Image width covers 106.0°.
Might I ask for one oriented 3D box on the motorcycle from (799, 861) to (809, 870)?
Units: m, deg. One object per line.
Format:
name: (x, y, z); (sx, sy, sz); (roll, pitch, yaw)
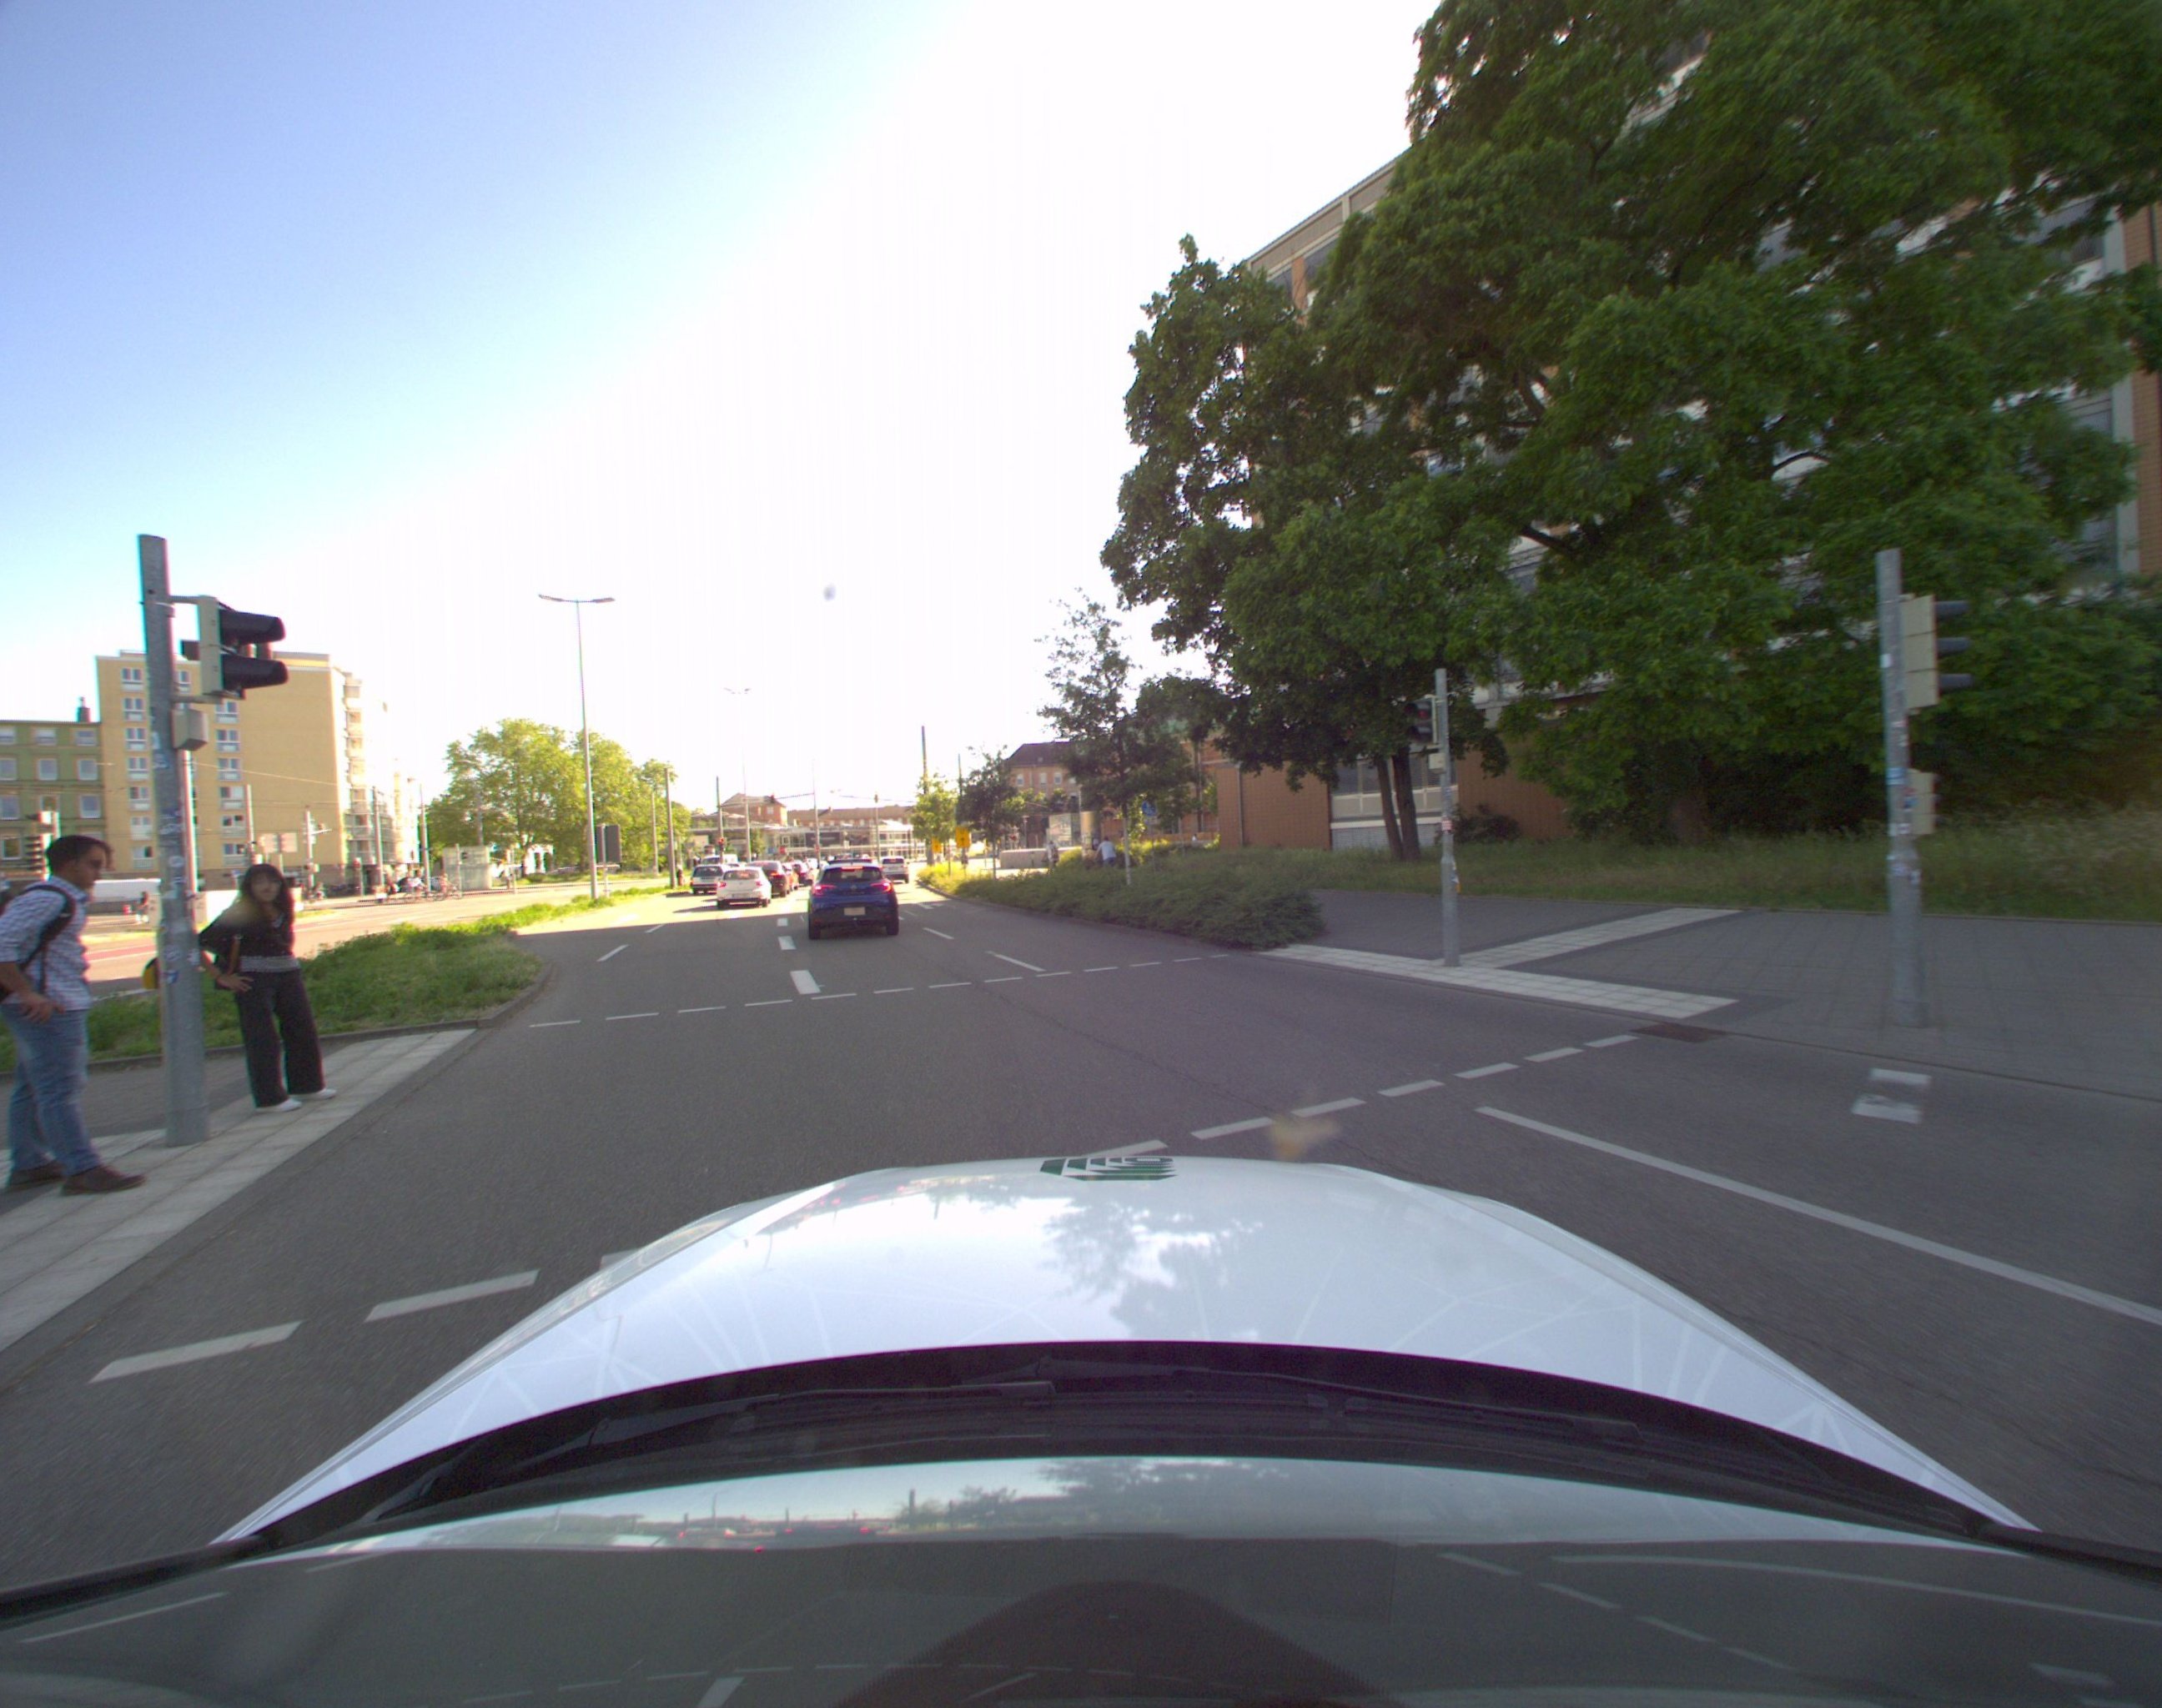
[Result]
motorcycle: (-36.175, 1.444, 106.427); (0.560, 1.094, 1.836); (-3, 0, 1)

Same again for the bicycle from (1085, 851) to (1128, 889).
bicycle: (0.807, 0.497, 26.468); (0.719, 1.165, 1.857); (-3, 1, -20)

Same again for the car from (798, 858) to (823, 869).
car: (-37.705, 1.340, 113.779); (1.717, 1.442, 4.190); (-3, 0, 5)

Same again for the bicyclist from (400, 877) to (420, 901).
bicyclist: (-42.932, 2.221, 52.116); (0.776, 1.444, 0.640); (-2, 0, -16)

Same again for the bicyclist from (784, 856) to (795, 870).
bicyclist: (-35.773, 1.081, 99.800); (1.070, 1.584, 0.938); (-3, 3, -31)

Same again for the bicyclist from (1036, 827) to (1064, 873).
bicyclist: (-1.229, -0.147, 31.951); (0.722, 1.762, 0.970); (-3, 1, -22)

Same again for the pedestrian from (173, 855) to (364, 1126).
pedestrian: (-5.375, 0.836, 5.402); (0.673, 1.612, 0.724); (-3, 0, 33)

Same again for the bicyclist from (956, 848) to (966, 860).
bicyclist: (-17.084, -0.040, 116.151); (1.070, 1.584, 0.938); (-3, 3, -31)

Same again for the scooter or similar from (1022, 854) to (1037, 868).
scooter or similar: (-3.771, 0.521, 59.874); (0.471, 1.012, 1.236); (-3, 3, -35)

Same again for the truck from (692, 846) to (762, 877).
truck: (-29.716, 0.568, 68.636); (2.203, 2.313, 6.894); (-3, 0, 5)

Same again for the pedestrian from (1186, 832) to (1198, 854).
pedestrian: (8.752, -0.852, 64.175); (0.779, 1.752, 0.542); (0, 3, 35)

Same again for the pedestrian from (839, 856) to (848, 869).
pedestrian: (-31.064, 1.096, 106.477); (0.695, 1.610, 0.856); (-1, 2, 19)

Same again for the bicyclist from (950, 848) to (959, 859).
bicyclist: (-17.283, -0.023, 111.137); (0.965, 1.449, 0.962); (-3, 0, -19)

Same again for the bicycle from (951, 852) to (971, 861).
bicycle: (-17.059, 0.353, 116.178); (2.664, 1.188, 0.938); (-3, 3, -32)

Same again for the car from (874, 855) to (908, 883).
car: (-11.517, 0.875, 49.560); (1.878, 1.617, 3.611); (-1, 0, -11)

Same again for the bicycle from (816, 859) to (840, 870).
bicycle: (-31.423, 1.293, 101.015); (2.668, 1.188, 0.936); (-3, 3, -39)

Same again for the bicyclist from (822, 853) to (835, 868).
bicyclist: (-31.316, 0.795, 101.108); (1.193, 1.776, 0.936); (-3, 3, -39)

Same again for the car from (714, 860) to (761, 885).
car: (-20.632, 1.089, 49.079); (1.725, 1.442, 3.897); (-1, 0, -9)

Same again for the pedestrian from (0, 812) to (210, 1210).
pedestrian: (-5.214, 0.728, 4.074); (0.746, 1.832, 1.102); (-2, 0, 40)

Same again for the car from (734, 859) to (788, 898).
car: (-14.266, 1.056, 36.486); (1.989, 1.624, 4.351); (0, 0, -18)

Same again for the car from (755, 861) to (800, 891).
car: (-15.714, 1.122, 42.307); (1.673, 1.442, 3.705); (-1, 0, -13)

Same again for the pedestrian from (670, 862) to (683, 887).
pedestrian: (-26.367, 1.325, 53.109); (0.576, 1.610, 0.562); (-3, 3, -42)

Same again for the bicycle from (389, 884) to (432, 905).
bicycle: (-42.900, 2.582, 52.131); (1.955, 1.165, 0.639); (-2, 0, -16)

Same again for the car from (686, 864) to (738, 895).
car: (-18.447, 1.243, 40.848); (1.728, 1.442, 3.779); (-1, 0, -15)

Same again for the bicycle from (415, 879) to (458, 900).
bicycle: (-40.838, 2.250, 51.624); (1.955, 1.165, 0.639); (-2, 0, -16)

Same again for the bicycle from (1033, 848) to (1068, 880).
bicycle: (-1.205, 0.391, 31.969); (0.749, 1.165, 1.857); (-3, 1, -21)

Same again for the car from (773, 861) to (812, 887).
car: (-17.156, 1.140, 48.566); (1.727, 1.442, 3.782); (-1, 0, -13)

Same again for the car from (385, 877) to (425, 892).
car: (-74.756, 3.358, 90.103); (3.287, 1.316, 1.509); (-3, 3, -34)

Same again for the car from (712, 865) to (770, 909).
car: (-12.287, 1.155, 29.570); (1.696, 1.436, 3.712); (0, 0, -19)

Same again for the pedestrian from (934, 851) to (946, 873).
pedestrian: (-11.307, 0.638, 65.217); (0.590, 1.723, 0.873); (-3, -2, 12)

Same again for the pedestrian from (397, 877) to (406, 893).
pedestrian: (-69.972, 3.168, 83.812); (0.611, 1.610, 0.791); (-3, 3, -37)

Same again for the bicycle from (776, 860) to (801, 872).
bicycle: (-35.822, 1.459, 99.782); (2.664, 1.188, 0.938); (-3, 3, -32)

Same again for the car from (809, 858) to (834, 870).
car: (-35.508, 1.307, 111.476); (1.717, 1.442, 4.190); (-3, 0, 5)

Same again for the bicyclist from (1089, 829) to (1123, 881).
bicyclist: (0.806, 0.042, 26.414); (0.722, 1.616, 0.971); (-3, 1, -21)

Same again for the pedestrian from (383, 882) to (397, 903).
pedestrian: (-47.852, 2.665, 56.380); (0.597, 1.408, 0.563); (-3, 3, -30)

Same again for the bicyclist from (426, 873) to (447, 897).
bicyclist: (-40.859, 1.975, 51.619); (0.775, 1.444, 0.640); (-2, 0, -15)

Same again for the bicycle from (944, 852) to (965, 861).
bicycle: (-17.240, 0.300, 111.154); (2.651, 1.095, 0.962); (-3, 0, -19)

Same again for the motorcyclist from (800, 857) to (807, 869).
motorcyclist: (-36.191, 1.168, 106.350); (0.547, 1.621, 0.745); (-3, 0, 1)

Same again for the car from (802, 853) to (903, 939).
car: (-5.047, 0.867, 17.827); (1.882, 1.617, 3.774); (-1, -1, -18)

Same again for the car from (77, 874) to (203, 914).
car: (-68.308, 2.857, 59.267); (5.523, 2.411, 1.980); (-3, 0, -32)
